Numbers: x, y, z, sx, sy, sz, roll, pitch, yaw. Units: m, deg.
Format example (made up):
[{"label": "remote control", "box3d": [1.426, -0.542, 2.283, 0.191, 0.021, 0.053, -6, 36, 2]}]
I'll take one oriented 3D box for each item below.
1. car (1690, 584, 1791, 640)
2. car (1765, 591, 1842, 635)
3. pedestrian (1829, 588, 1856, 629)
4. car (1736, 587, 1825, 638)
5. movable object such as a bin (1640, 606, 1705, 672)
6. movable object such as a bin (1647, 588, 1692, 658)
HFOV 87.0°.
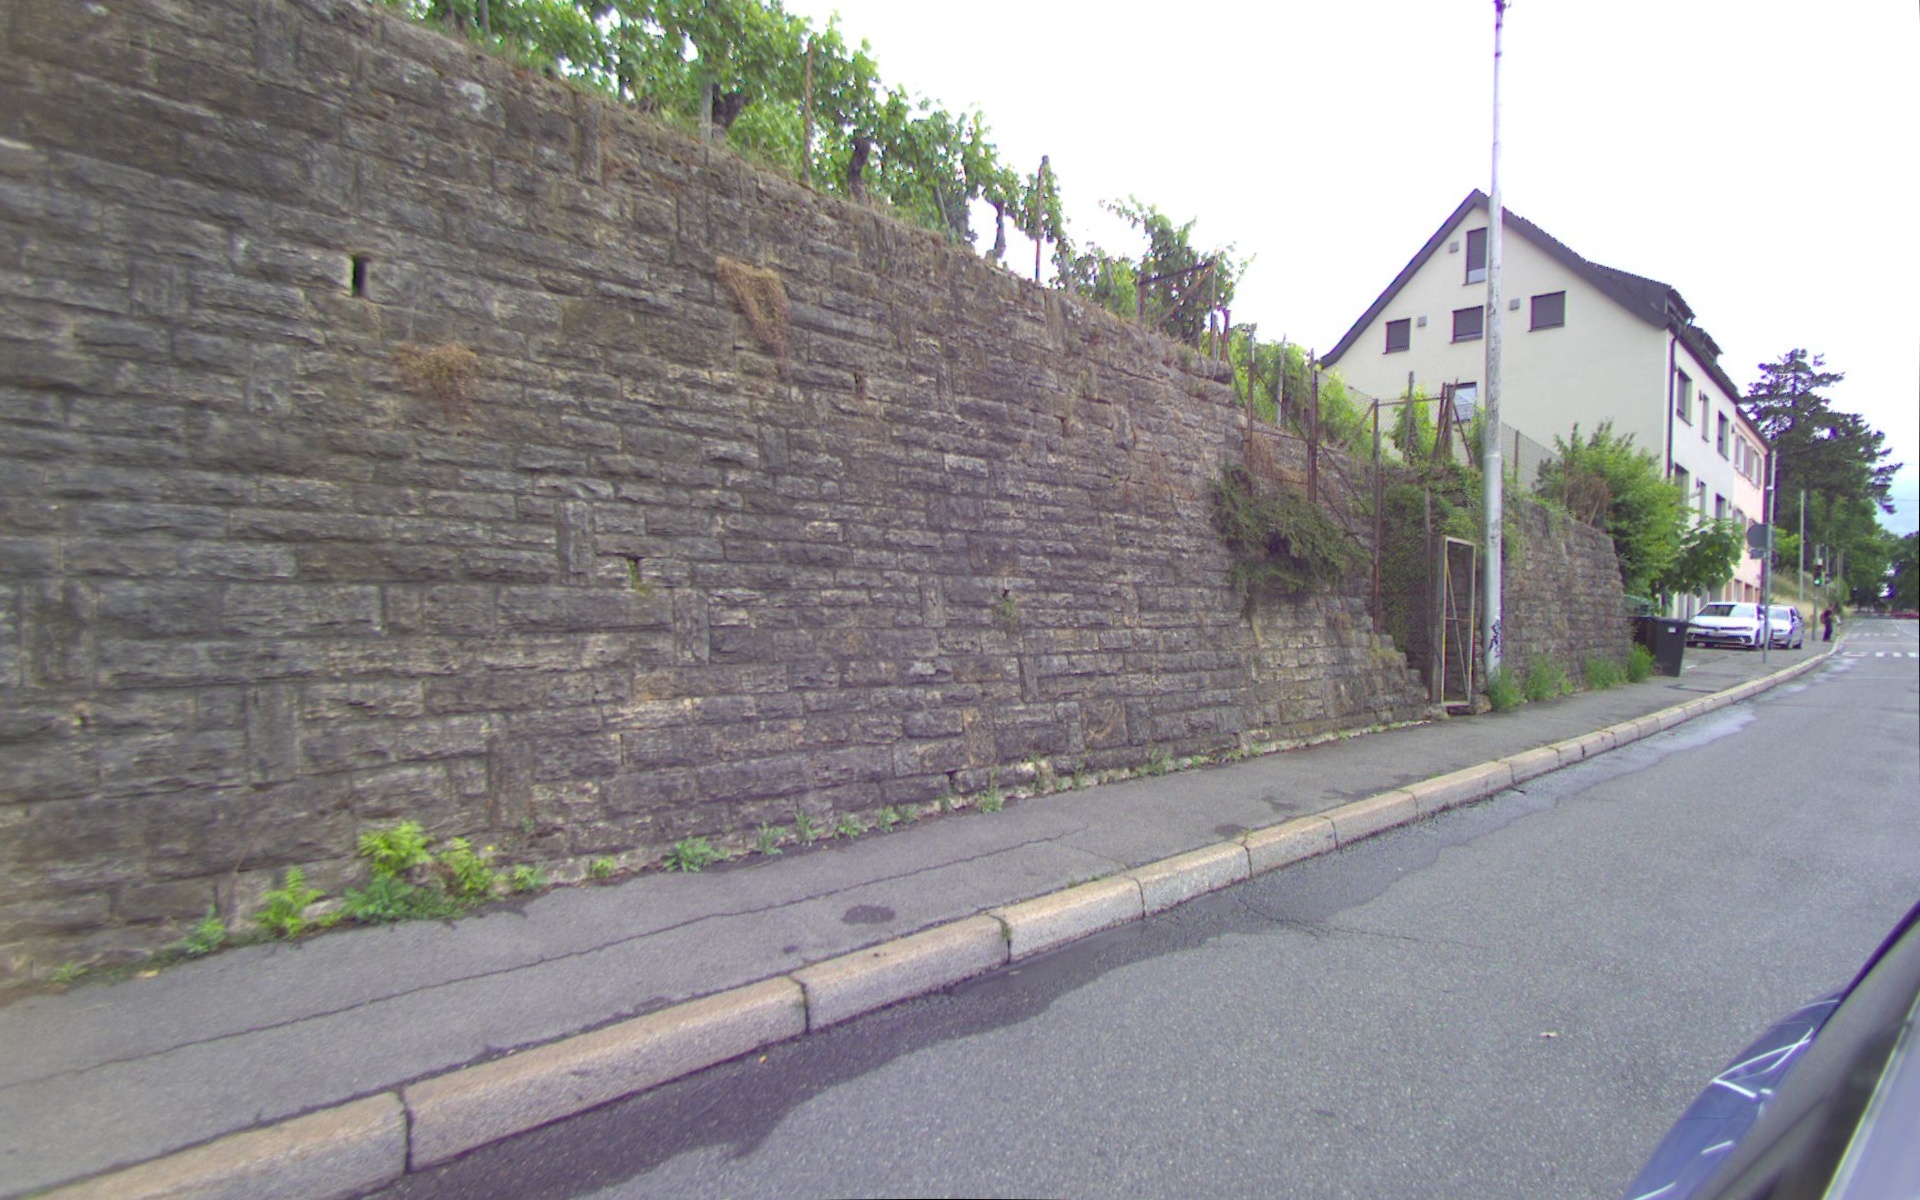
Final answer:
[{"label": "car", "box3d": [23.896, 0.335, 30.926, 3.987, 1.595, 1.796, -1, 0, -43]}, {"label": "car", "box3d": [32.801, 0.471, 39.305, 4.180, 1.595, 1.904, -1, 0, -45]}, {"label": "pedestrian", "box3d": [37.720, 0.343, 43.253, 0.683, 1.733, 0.735, 1, 0, -39]}, {"label": "car", "box3d": [27.620, 0.386, 34.024, 4.177, 1.595, 1.729, -1, 0, -43]}, {"label": "movable object such as a bin", "box3d": [12.996, 0.698, 18.469, 0.860, 1.141, 0.810, 0, 0, -43]}, {"label": "movable object such as a bin", "box3d": [16.370, 0.516, 23.346, 0.750, 1.562, 1.049, -1, -1, 41]}]
